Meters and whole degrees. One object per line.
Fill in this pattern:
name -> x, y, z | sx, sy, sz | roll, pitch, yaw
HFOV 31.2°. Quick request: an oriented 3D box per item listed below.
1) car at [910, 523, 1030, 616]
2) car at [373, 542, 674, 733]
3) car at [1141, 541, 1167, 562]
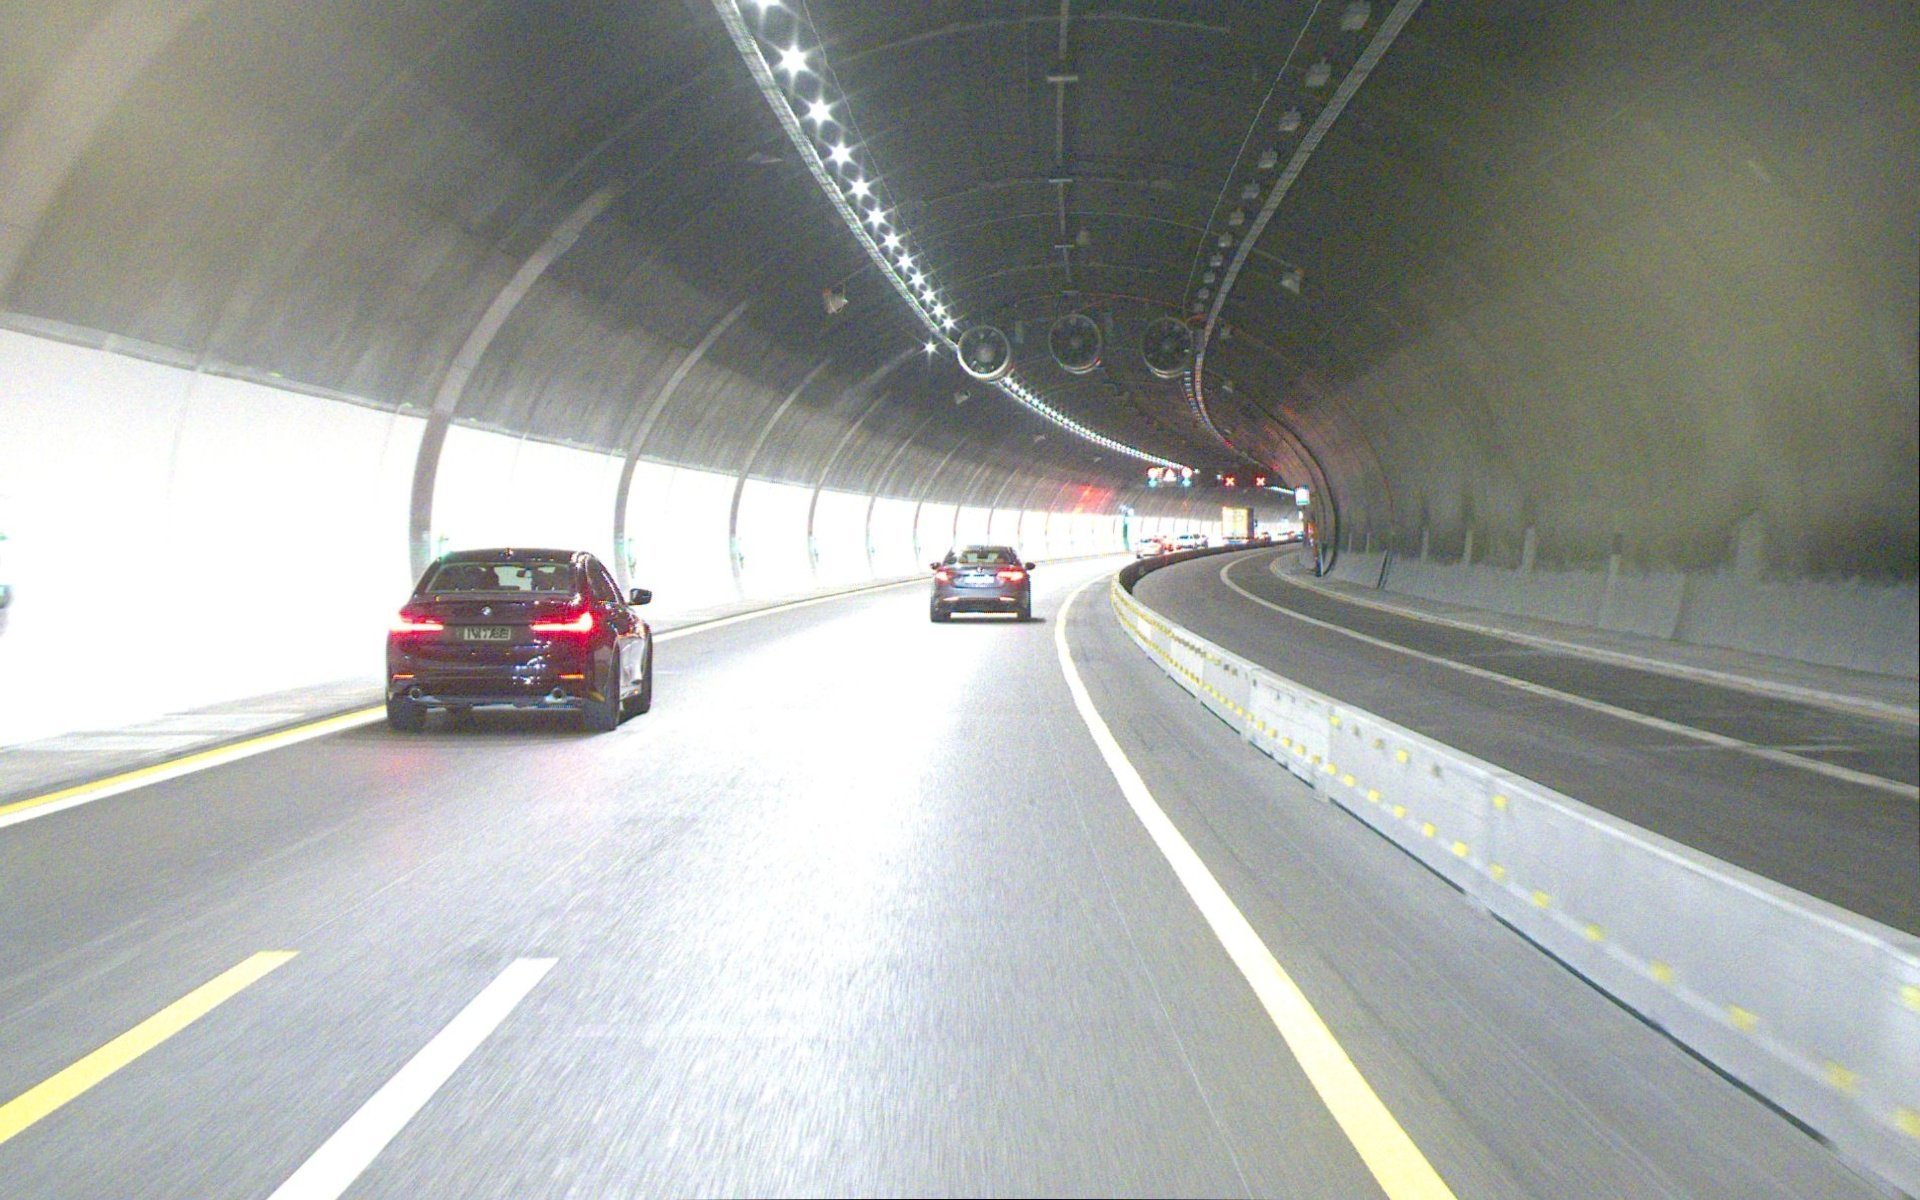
car -> 0.224, -0.610, 64.873 | 2.141, 1.700, 4.000 | 0, 1, 2
car -> -3.554, 0.246, 28.797 | 1.778, 1.433, 4.883 | 0, 1, 1
car -> 12.621, -3.149, 223.344 | 1.595, 1.328, 3.750 | 0, 1, 5
